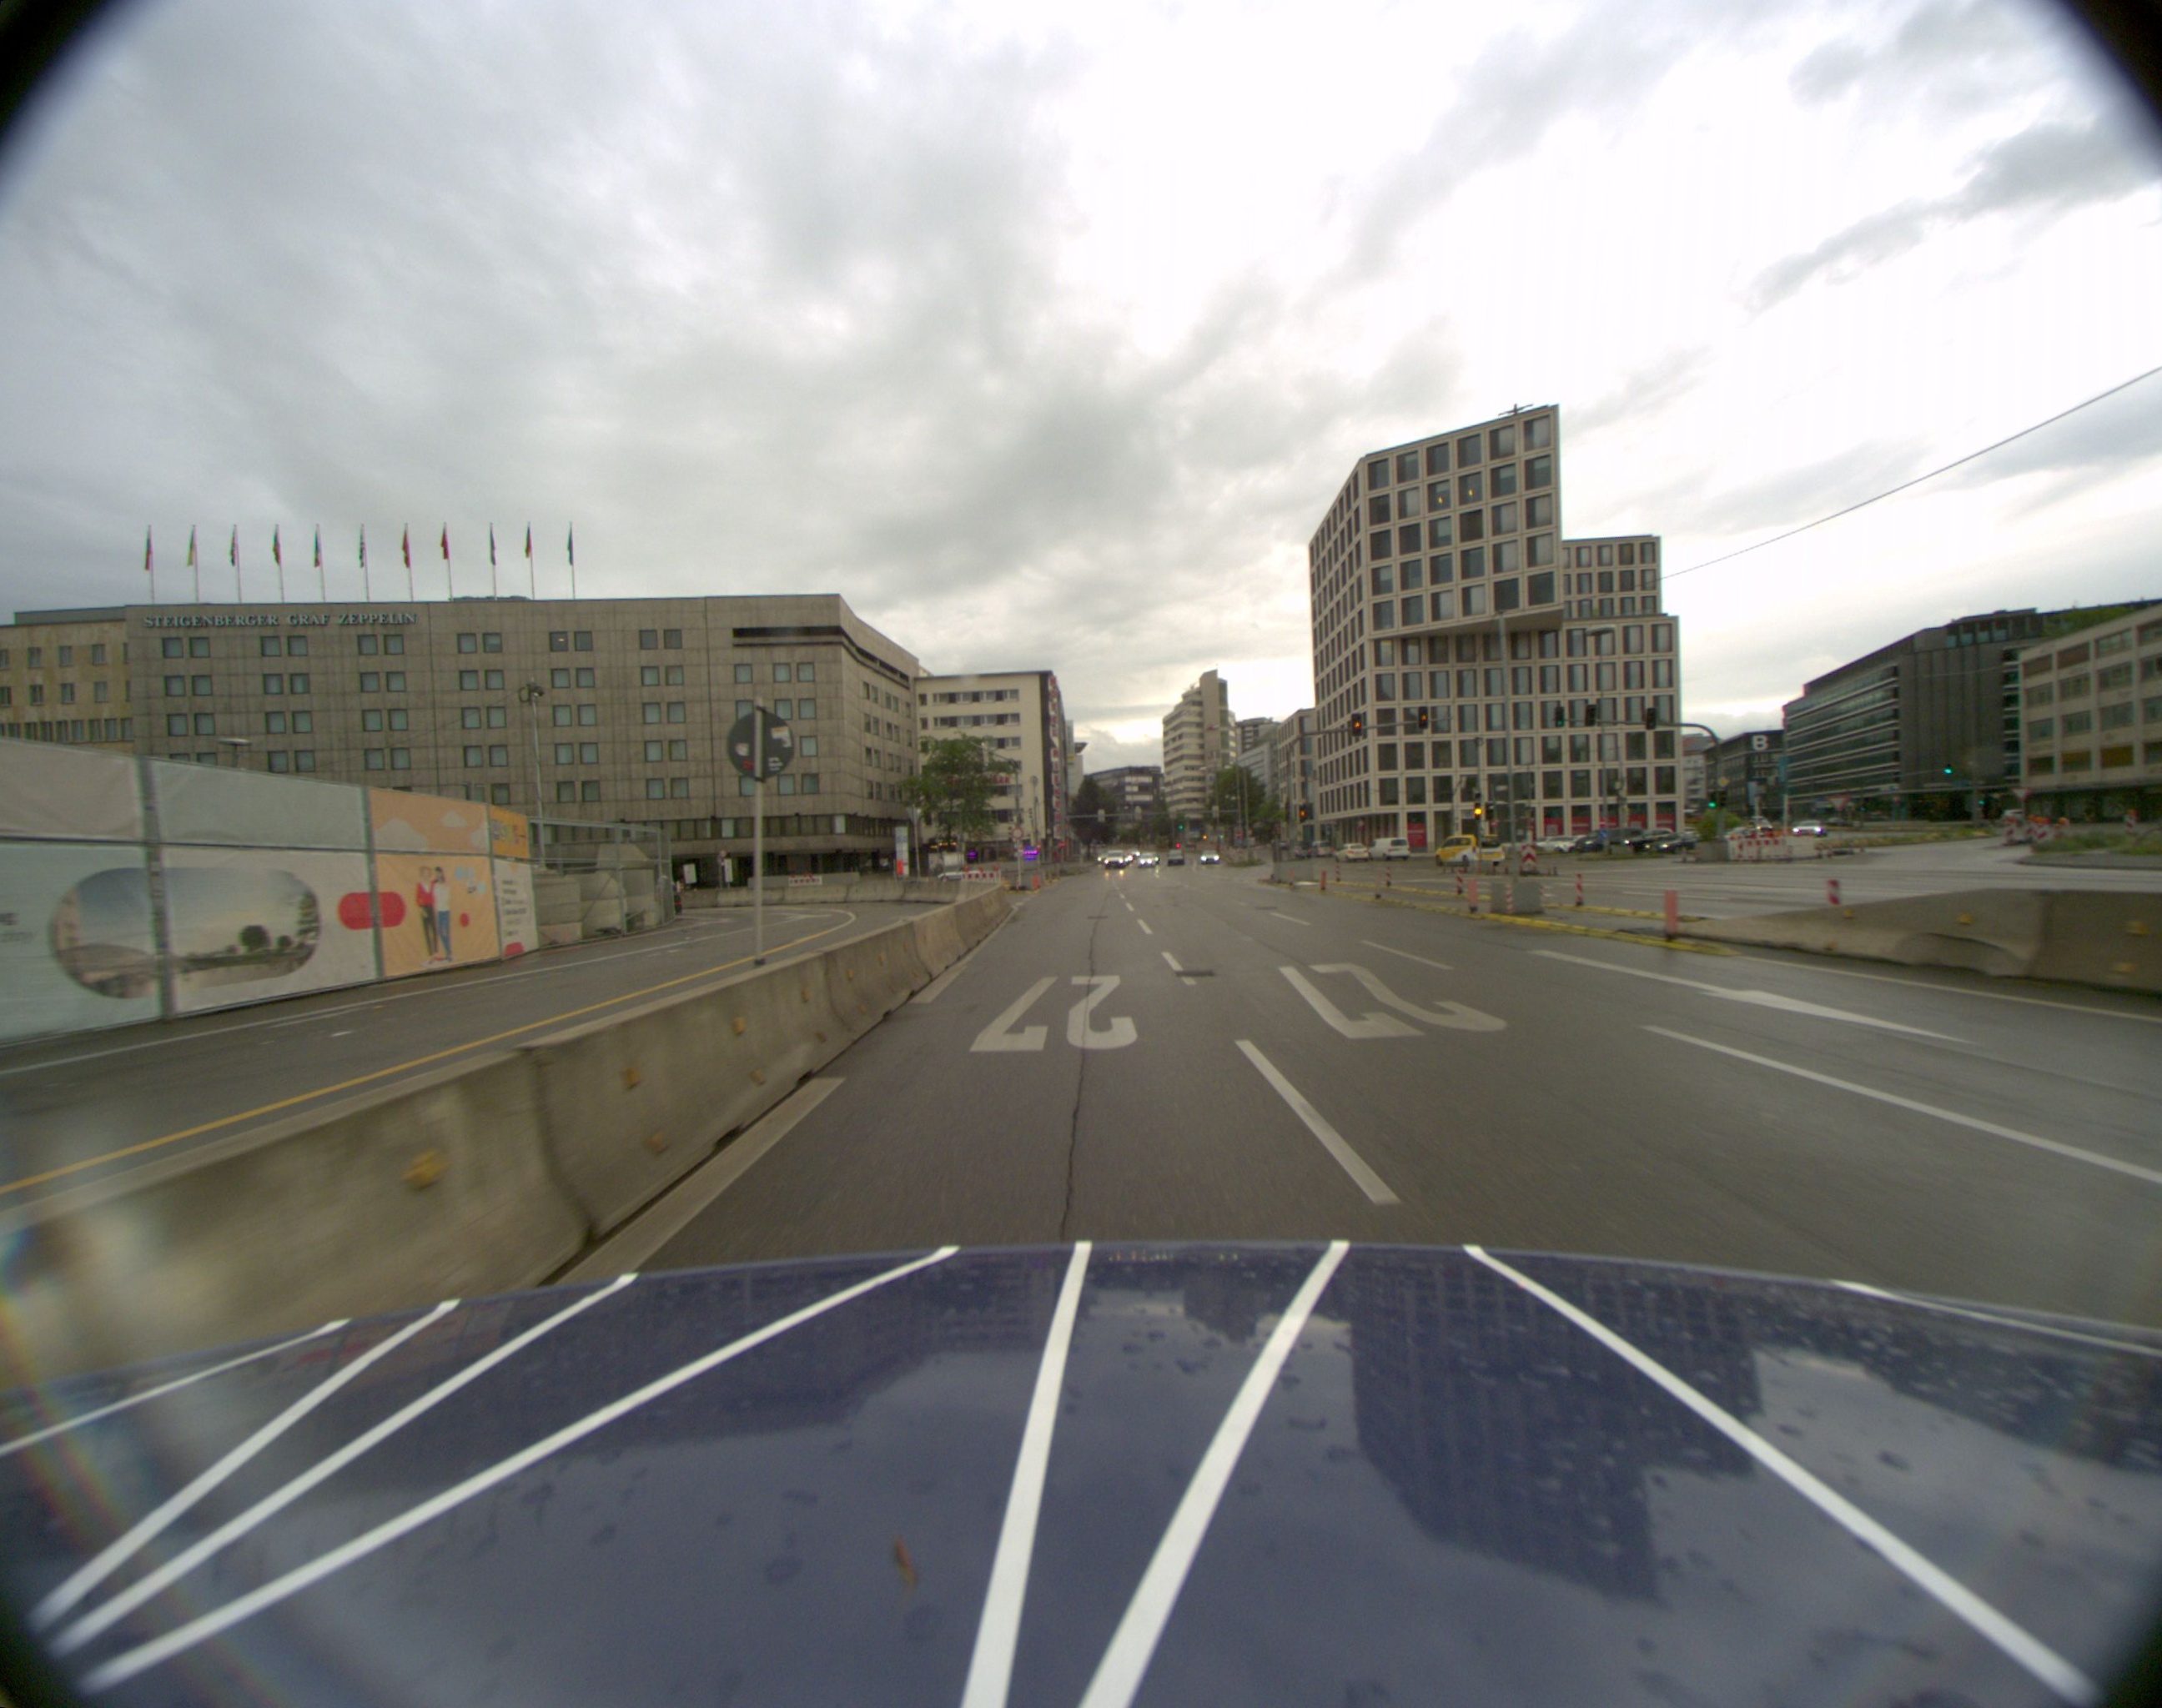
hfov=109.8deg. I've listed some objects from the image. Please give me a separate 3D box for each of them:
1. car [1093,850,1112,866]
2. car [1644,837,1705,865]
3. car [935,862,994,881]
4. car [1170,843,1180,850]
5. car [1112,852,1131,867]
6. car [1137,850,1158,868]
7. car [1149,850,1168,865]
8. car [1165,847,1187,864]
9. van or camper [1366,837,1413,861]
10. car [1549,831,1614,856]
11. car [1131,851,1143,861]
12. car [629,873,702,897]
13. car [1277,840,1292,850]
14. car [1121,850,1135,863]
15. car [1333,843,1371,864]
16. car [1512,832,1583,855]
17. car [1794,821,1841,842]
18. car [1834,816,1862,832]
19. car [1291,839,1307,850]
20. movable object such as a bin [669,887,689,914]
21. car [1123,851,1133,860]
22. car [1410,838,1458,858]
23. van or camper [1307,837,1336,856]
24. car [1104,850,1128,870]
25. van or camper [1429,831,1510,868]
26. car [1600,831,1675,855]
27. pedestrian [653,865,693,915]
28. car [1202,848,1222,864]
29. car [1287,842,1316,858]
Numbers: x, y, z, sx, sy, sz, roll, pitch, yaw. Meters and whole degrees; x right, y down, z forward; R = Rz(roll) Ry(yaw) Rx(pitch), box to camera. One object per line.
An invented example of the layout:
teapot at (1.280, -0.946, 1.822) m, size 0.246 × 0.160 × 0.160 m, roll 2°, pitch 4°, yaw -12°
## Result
car at (2.827, 0.479, 99.232) m, size 1.921 × 2.002 × 4.002 m, roll -2°, pitch 0°, yaw 8°
car at (38.910, -0.177, 49.808) m, size 4.005 × 1.687 × 1.693 m, roll -2°, pitch 0°, yaw -29°
car at (-9.625, 1.416, 63.001) m, size 4.525 × 1.302 × 1.643 m, roll -3°, pitch 0°, yaw 2°
car at (22.709, -1.870, 183.402) m, size 1.850 × 1.589 × 4.180 m, roll -3°, pitch 0°, yaw -1°
car at (4.714, 0.637, 88.766) m, size 2.016 × 1.589 × 4.664 m, roll -3°, pitch 0°, yaw 3°
car at (6.988, 0.489, 79.527) m, size 2.016 × 1.728 × 4.665 m, roll -3°, pitch 0°, yaw 5°
car at (8.746, 0.352, 85.939) m, size 2.016 × 1.589 × 4.665 m, roll -3°, pitch 0°, yaw 5°
car at (10.090, 0.145, 80.767) m, size 2.016 × 1.589 × 4.665 m, roll -3°, pitch 0°, yaw 5°
van or camper at (26.915, -0.433, 66.516) m, size 1.886 × 1.883 × 5.212 m, roll -3°, pitch 0°, yaw -1°
car at (41.260, -0.862, 62.724) m, size 3.995 × 1.805 × 1.806 m, roll -3°, pitch 1°, yaw 8°
car at (8.316, 0.280, 112.818) m, size 1.671 × 1.475 × 3.486 m, roll -3°, pitch 0°, yaw 4°
car at (-33.575, 2.508, 61.500) m, size 4.661 × 1.589 × 2.017 m, roll -3°, pitch 0°, yaw -4°
car at (32.664, -1.415, 122.149) m, size 1.865 × 1.514 × 4.002 m, roll -2°, pitch 0°, yaw 8°
car at (5.946, 0.327, 96.622) m, size 1.671 × 1.475 × 3.486 m, roll -3°, pitch 0°, yaw 4°
car at (23.726, -0.077, 66.669) m, size 1.846 × 1.663 × 4.381 m, roll -3°, pitch 0°, yaw 3°
car at (40.708, -0.891, 66.406) m, size 4.809 × 1.743 × 2.229 m, roll -2°, pitch 0°, yaw 0°
car at (68.801, -2.106, 70.972) m, size 4.136 × 1.706 × 1.854 m, roll -2°, pitch 0°, yaw -27°
car at (104.424, -4.120, 103.535) m, size 1.995 × 2.002 × 4.008 m, roll -2°, pitch 0°, yaw 36°
car at (31.664, -1.394, 110.482) m, size 1.864 × 1.514 × 4.003 m, roll -2°, pitch 0°, yaw 10°
movable object such as a bin at (-15.955, 1.840, 30.150) m, size 0.521 × 1.010 × 0.432 m, roll -3°, pitch 1°, yaw 22°
car at (8.336, 0.314, 135.699) m, size 1.671 × 1.475 × 3.486 m, roll -3°, pitch 0°, yaw 4°
car at (33.063, -0.568, 71.106) m, size 3.990 × 1.718 × 1.741 m, roll -2°, pitch 0°, yaw 26°
van or camper at (27.562, -0.837, 87.068) m, size 1.850 × 1.967 × 4.255 m, roll -3°, pitch 0°, yaw -1°
car at (3.788, 0.614, 80.973) m, size 2.085 × 1.893 × 5.088 m, roll -3°, pitch 0°, yaw 7°
van or camper at (23.597, -0.271, 46.404) m, size 2.244 × 2.042 × 5.608 m, roll -3°, pitch 0°, yaw 3°
car at (38.573, -0.741, 52.685) m, size 3.999 × 1.477 × 1.835 m, roll -3°, pitch 0°, yaw -8°
pedestrian at (-15.920, 1.402, 29.660) m, size 0.777 × 1.854 × 1.004 m, roll -3°, pitch 1°, yaw 19°
car at (13.710, 0.174, 79.526) m, size 2.015 × 1.589 × 4.666 m, roll -3°, pitch 0°, yaw 10°
car at (24.388, -0.449, 84.178) m, size 1.850 × 1.589 × 4.180 m, roll -3°, pitch 0°, yaw -1°
